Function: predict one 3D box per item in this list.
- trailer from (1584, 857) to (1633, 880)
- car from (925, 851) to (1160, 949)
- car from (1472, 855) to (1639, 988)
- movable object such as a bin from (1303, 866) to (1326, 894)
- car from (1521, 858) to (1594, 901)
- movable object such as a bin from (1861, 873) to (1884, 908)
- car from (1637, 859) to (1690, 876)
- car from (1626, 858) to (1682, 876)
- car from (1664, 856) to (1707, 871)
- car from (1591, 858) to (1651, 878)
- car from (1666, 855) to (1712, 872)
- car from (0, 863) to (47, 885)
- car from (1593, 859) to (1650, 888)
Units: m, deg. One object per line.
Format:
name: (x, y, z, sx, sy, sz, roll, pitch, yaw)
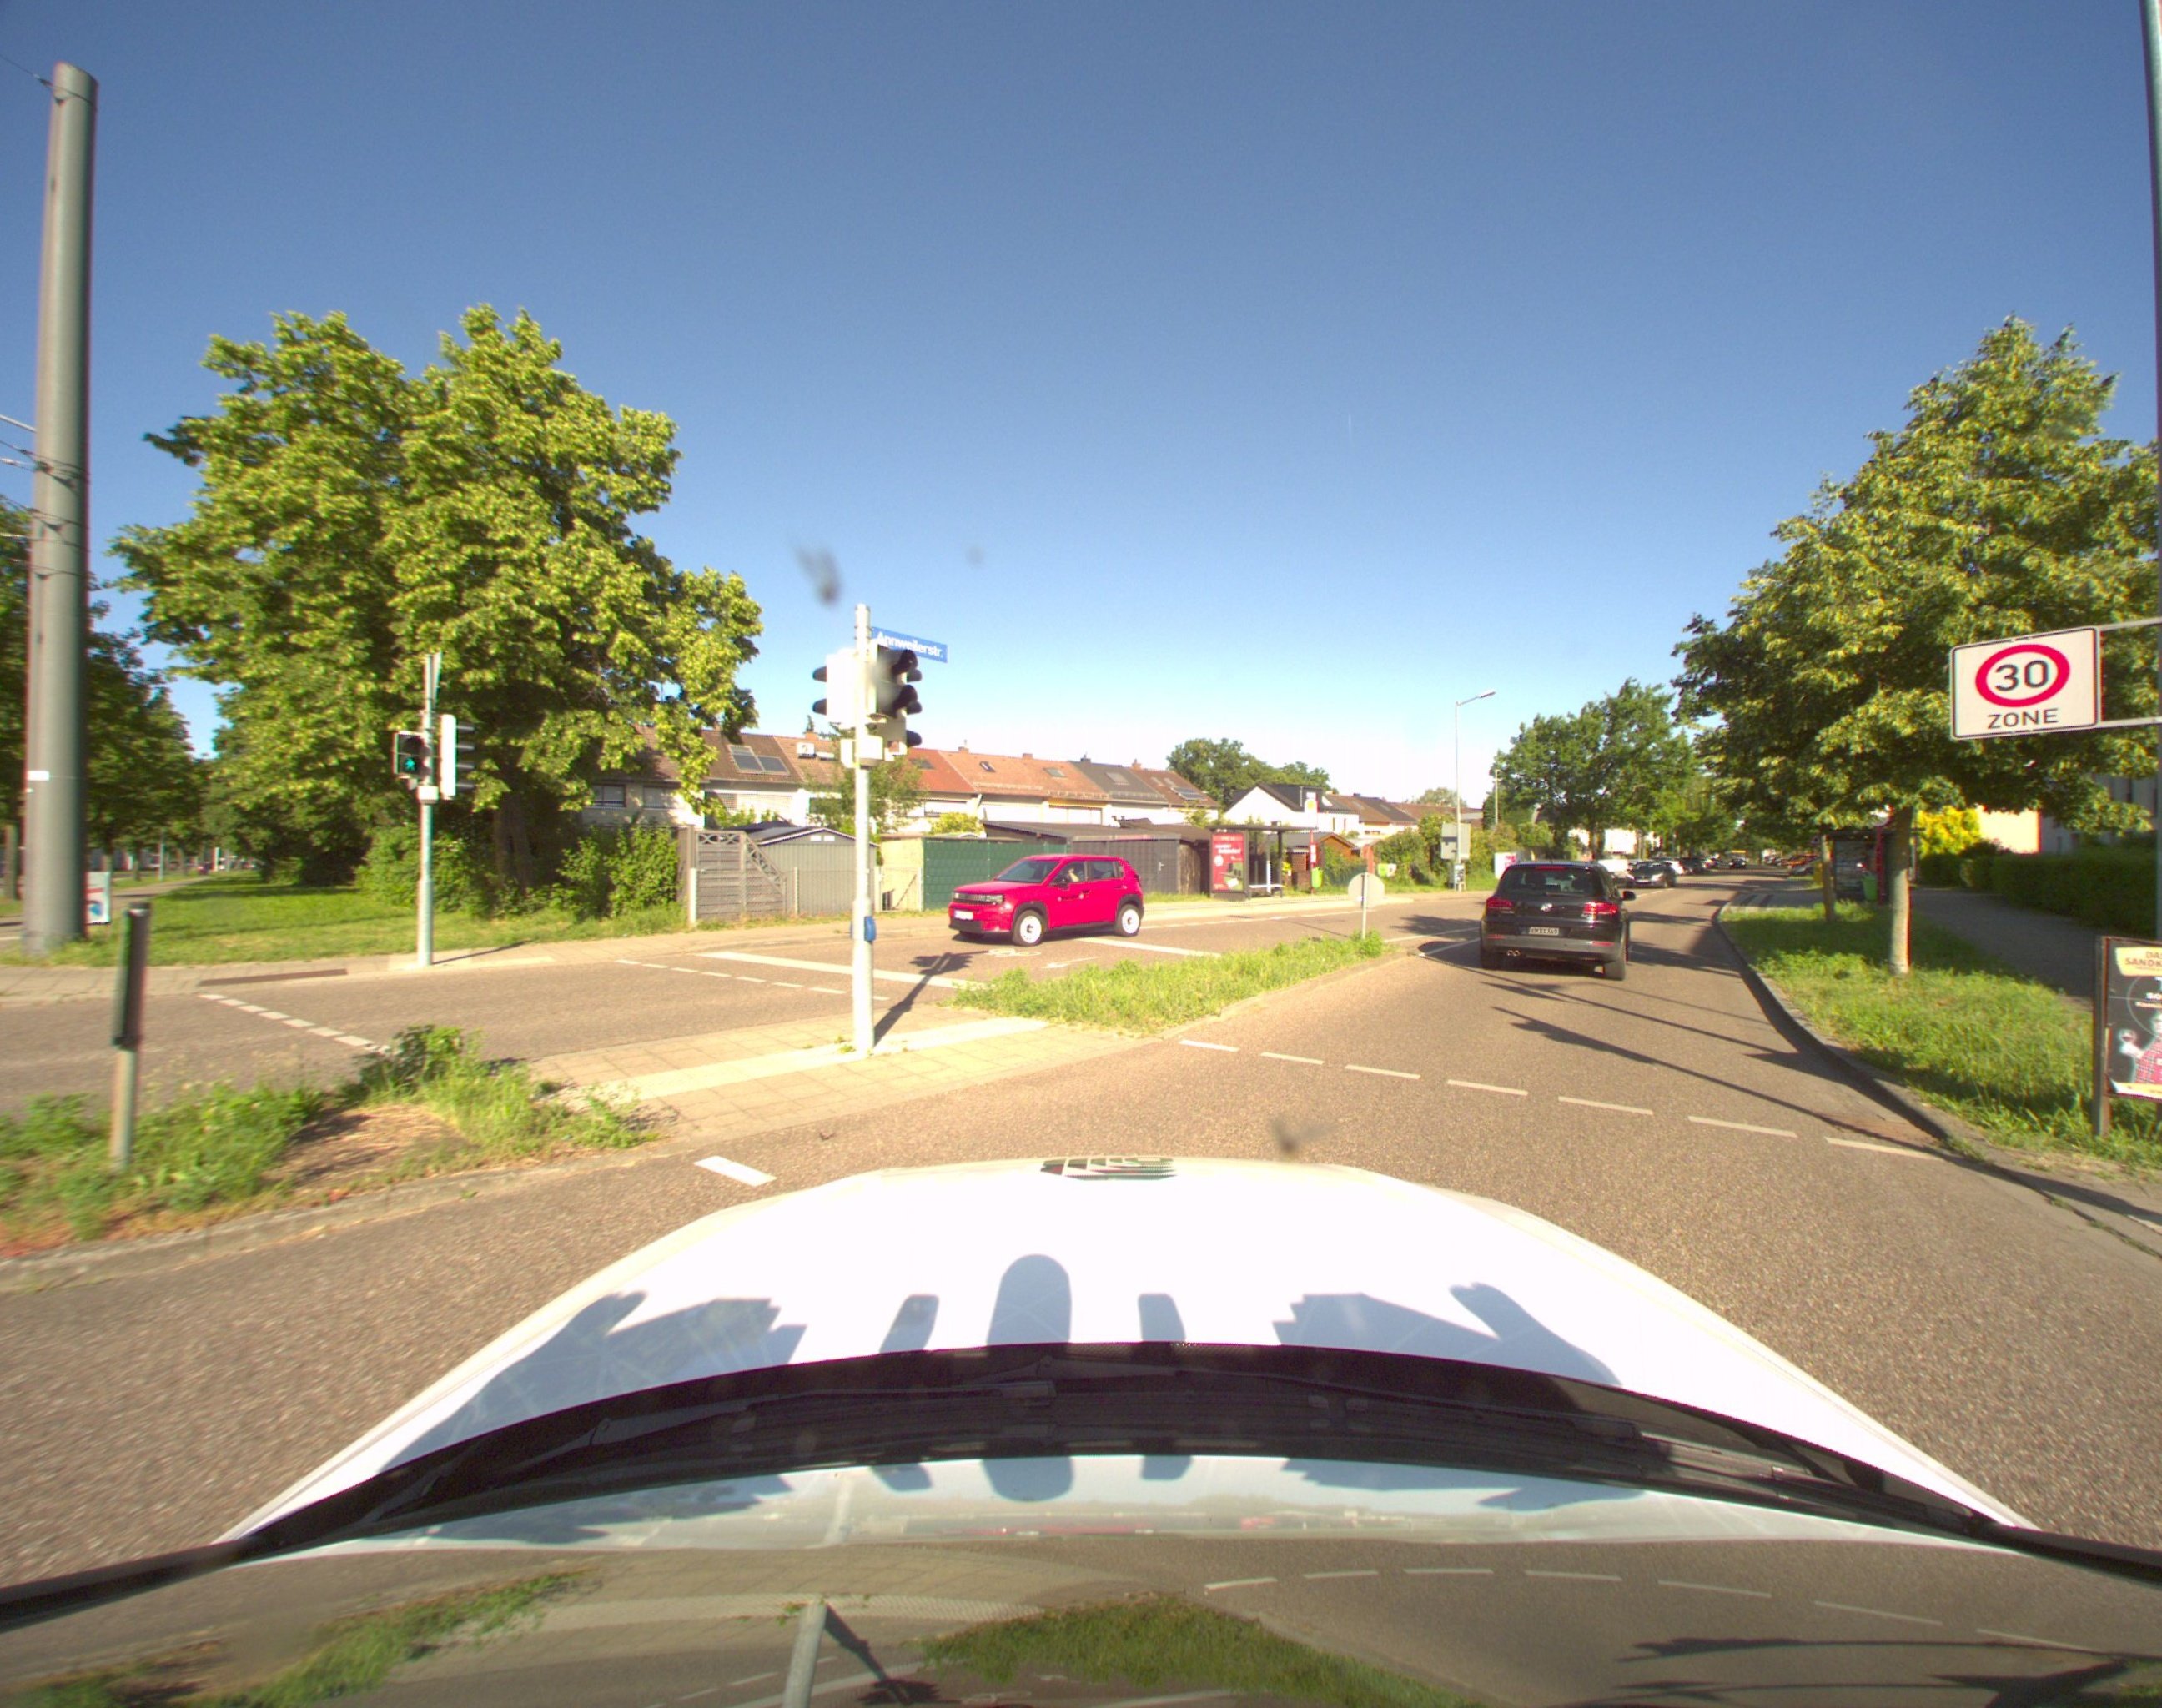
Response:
trailer: (39.026, 1.069, 60.275, 2.938, 1.656, 1.405, -1, -1, 38)
car: (-0.617, 0.760, 15.354, 4.204, 1.588, 1.922, 0, -1, -44)
car: (7.545, 0.872, 12.801, 1.911, 1.654, 4.543, 1, 0, 33)
movable object such as a bin: (8.553, 0.949, 29.838, 0.561, 0.967, 0.587, 0, 3, -44)
car: (19.413, 0.980, 33.065, 2.188, 1.591, 4.563, 0, -1, 35)
movable object such as a bin: (23.380, 1.075, 24.064, 0.365, 1.016, 0.603, -1, -1, 32)
car: (56.348, 1.264, 78.836, 3.950, 1.640, 2.012, -1, -1, 43)
car: (52.674, 1.188, 74.915, 3.949, 1.670, 2.012, -1, -1, 43)
car: (70.810, 1.149, 95.403, 3.949, 1.720, 1.832, 0, -2, 41)
car: (40.840, 1.057, 61.600, 3.515, 1.477, 1.819, -1, -1, 42)
car: (72.564, 1.092, 97.171, 4.348, 1.939, 1.588, 0, -2, 38)
car: (-88.836, 1.711, 68.320, 1.911, 1.759, 3.951, 3, -3, -43)
car: (30.047, 1.047, 45.231, 1.975, 1.443, 4.477, 1, 1, 42)
